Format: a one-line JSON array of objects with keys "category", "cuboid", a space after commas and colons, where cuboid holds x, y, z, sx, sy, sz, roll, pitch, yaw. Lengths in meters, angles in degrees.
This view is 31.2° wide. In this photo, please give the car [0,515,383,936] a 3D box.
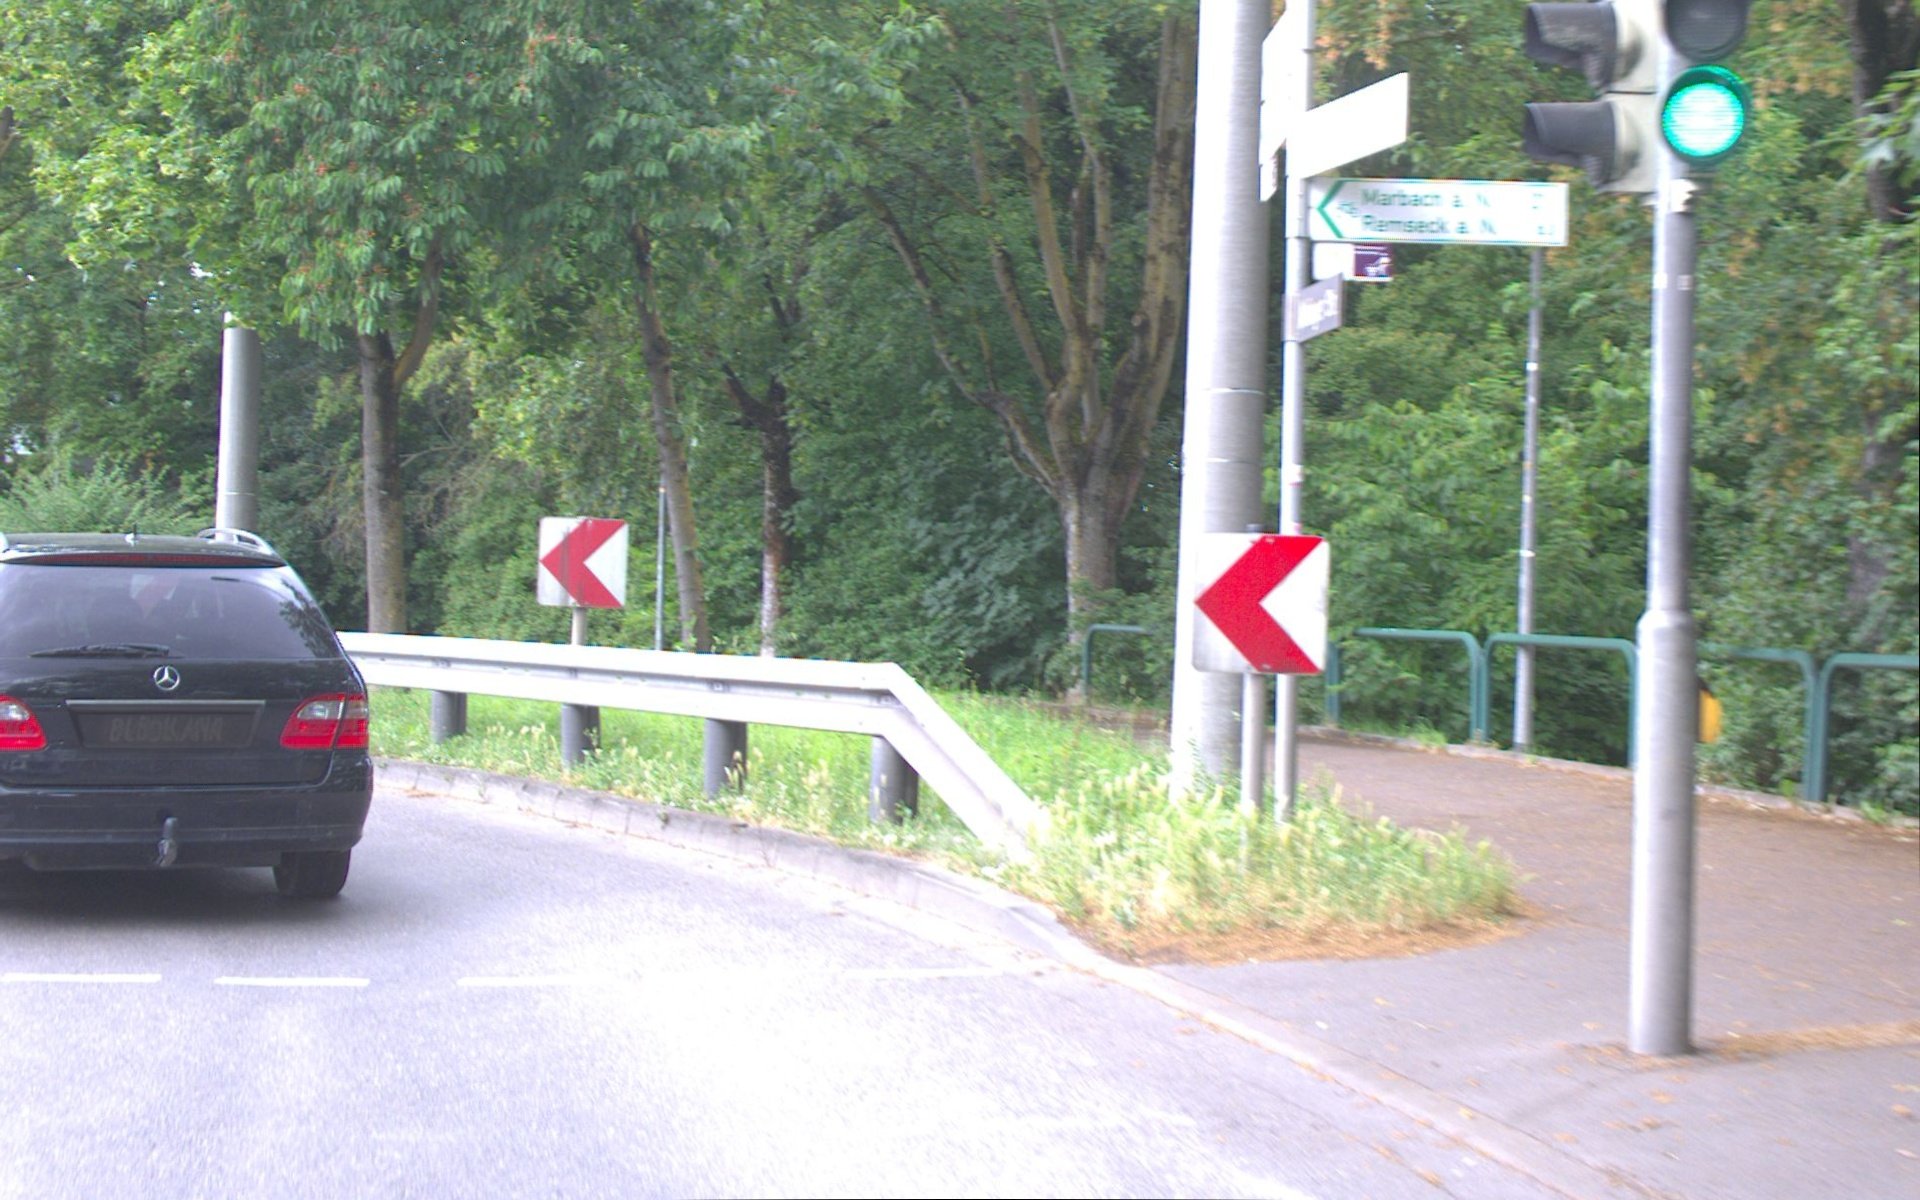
[{"category": "car", "cuboid": [-3.817, 0.410, 14.569, 1.758, 1.510, 4.443, 0, 1, -22]}]
